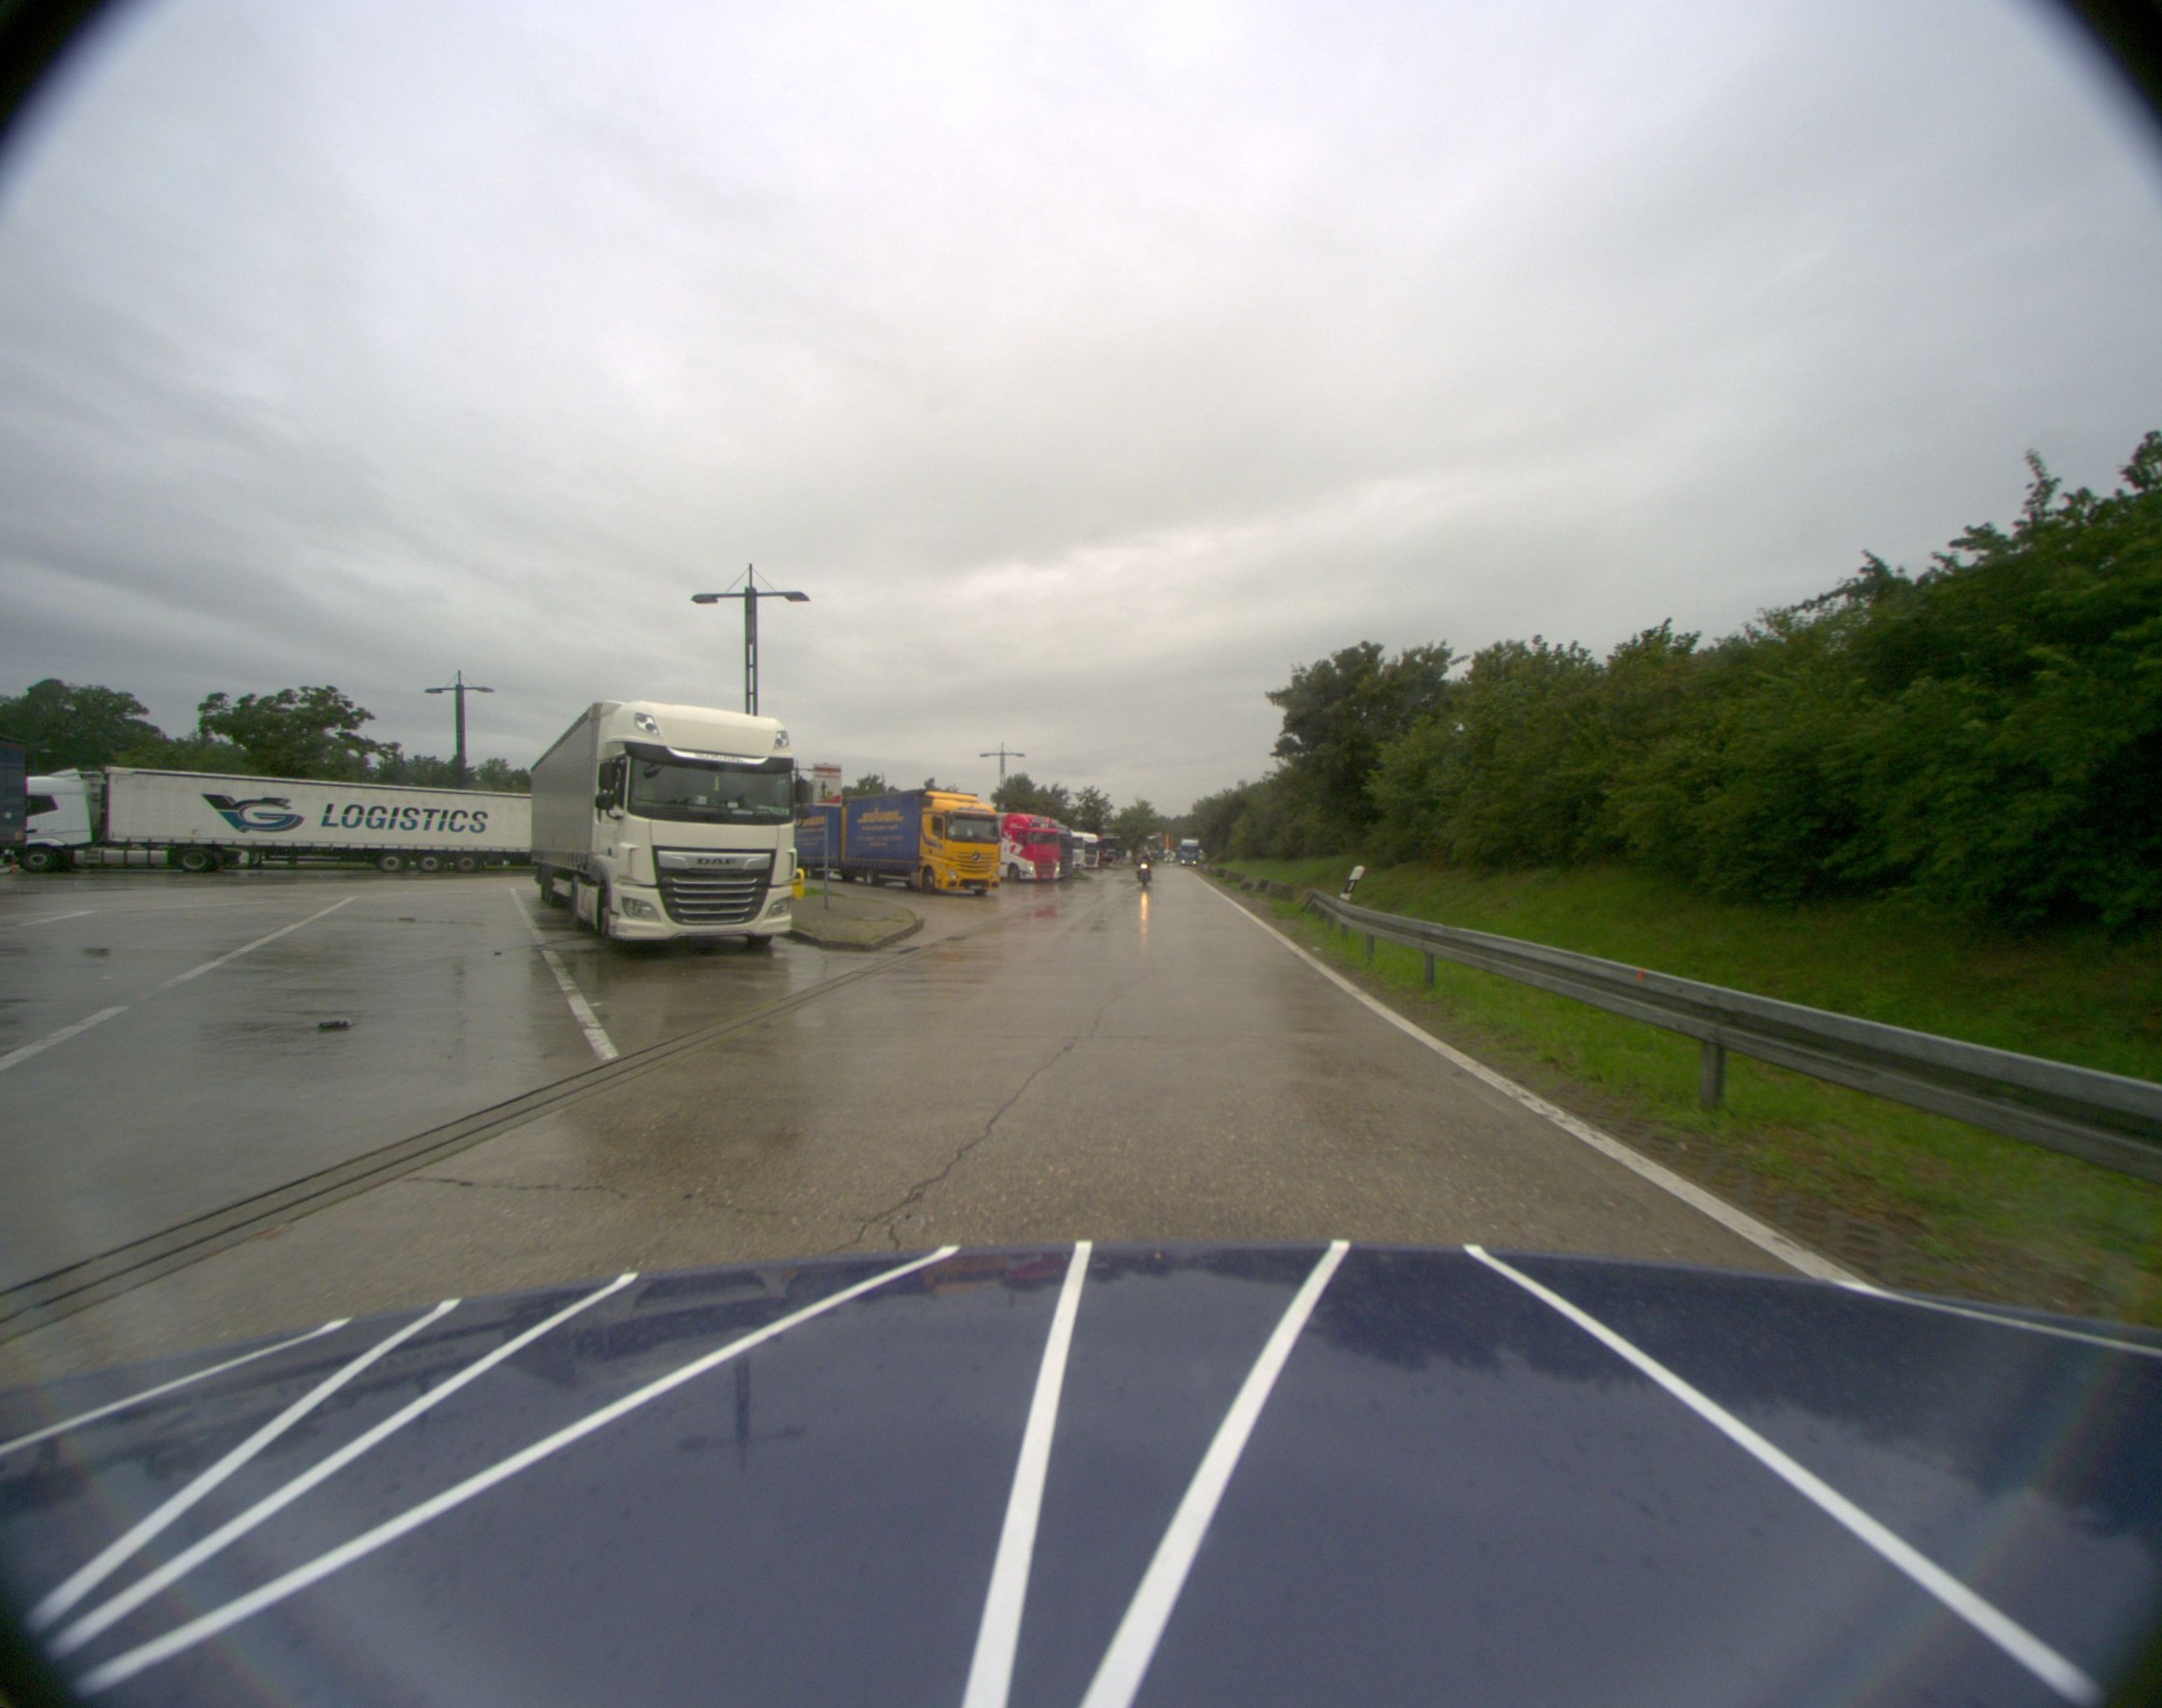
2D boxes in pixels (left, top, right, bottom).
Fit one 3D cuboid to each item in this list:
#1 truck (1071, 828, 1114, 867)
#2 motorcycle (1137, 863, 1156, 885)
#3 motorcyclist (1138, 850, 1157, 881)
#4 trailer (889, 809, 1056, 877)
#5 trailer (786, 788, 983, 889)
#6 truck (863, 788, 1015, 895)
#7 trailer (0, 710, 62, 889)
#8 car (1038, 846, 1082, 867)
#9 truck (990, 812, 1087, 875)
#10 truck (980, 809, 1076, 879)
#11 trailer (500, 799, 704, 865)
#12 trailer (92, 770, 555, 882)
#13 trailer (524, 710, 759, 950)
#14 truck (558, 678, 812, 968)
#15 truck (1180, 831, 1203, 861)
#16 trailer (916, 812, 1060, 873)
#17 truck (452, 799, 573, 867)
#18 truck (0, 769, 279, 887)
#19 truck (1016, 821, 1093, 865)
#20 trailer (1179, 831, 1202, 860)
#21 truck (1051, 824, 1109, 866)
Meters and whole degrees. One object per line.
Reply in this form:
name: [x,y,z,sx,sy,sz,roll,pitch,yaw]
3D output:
truck: [1.349,-0.768,88.420,2.612,4.361,4.615,-1,1,-41]
motorcycle: [3.341,0.995,38.353,0.877,1.016,2.354,1,0,6]
motorcyclist: [3.340,0.577,38.285,0.877,1.558,1.374,1,0,6]
trailer: [-7.669,-0.777,50.302,3.253,3.896,14.787,1,1,-41]
trailer: [-10.284,-0.748,36.950,2.875,3.896,16.586,1,1,-38]
truck: [-6.171,-0.514,31.706,2.846,3.896,8.107,1,1,-37]
trailer: [-32.482,-1.429,16.420,12.057,4.448,3.250,1,1,-39]
car: [-1.908,0.229,68.277,1.852,1.848,3.988,0,1,-39]
truck: [-2.895,-0.698,50.190,2.906,3.896,6.536,1,1,-41]
truck: [-3.220,-0.608,45.251,3.253,3.896,5.007,1,1,-41]
trailer: [-29.535,-1.440,47.392,10.407,3.733,2.064,-3,1,-41]
trailer: [-32.457,-1.288,34.134,14.191,4.233,2.661,-3,1,-39]
trailer: [-11.496,-0.503,18.653,2.850,3.896,13.914,1,1,-39]
truck: [-7.089,-0.435,13.204,2.837,3.890,5.395,0,1,-39]
truck: [16.452,-1.164,113.717,3.242,4.361,6.317,0,1,7]
trailer: [-7.148,-0.880,54.988,2.882,3.896,13.894,1,1,-41]
truck: [-33.087,-1.262,44.326,5.349,3.733,2.064,-3,1,-41]
truck: [-37.264,-1.039,30.272,6.796,4.250,2.661,-3,1,-39]
truck: [-2.699,-1.120,74.376,3.253,4.068,7.915,1,1,-41]
trailer: [17.263,-1.287,120.223,3.242,4.361,13.772,0,1,7]
truck: [-0.133,-0.969,83.038,3.253,4.361,5.797,-1,1,-41]
